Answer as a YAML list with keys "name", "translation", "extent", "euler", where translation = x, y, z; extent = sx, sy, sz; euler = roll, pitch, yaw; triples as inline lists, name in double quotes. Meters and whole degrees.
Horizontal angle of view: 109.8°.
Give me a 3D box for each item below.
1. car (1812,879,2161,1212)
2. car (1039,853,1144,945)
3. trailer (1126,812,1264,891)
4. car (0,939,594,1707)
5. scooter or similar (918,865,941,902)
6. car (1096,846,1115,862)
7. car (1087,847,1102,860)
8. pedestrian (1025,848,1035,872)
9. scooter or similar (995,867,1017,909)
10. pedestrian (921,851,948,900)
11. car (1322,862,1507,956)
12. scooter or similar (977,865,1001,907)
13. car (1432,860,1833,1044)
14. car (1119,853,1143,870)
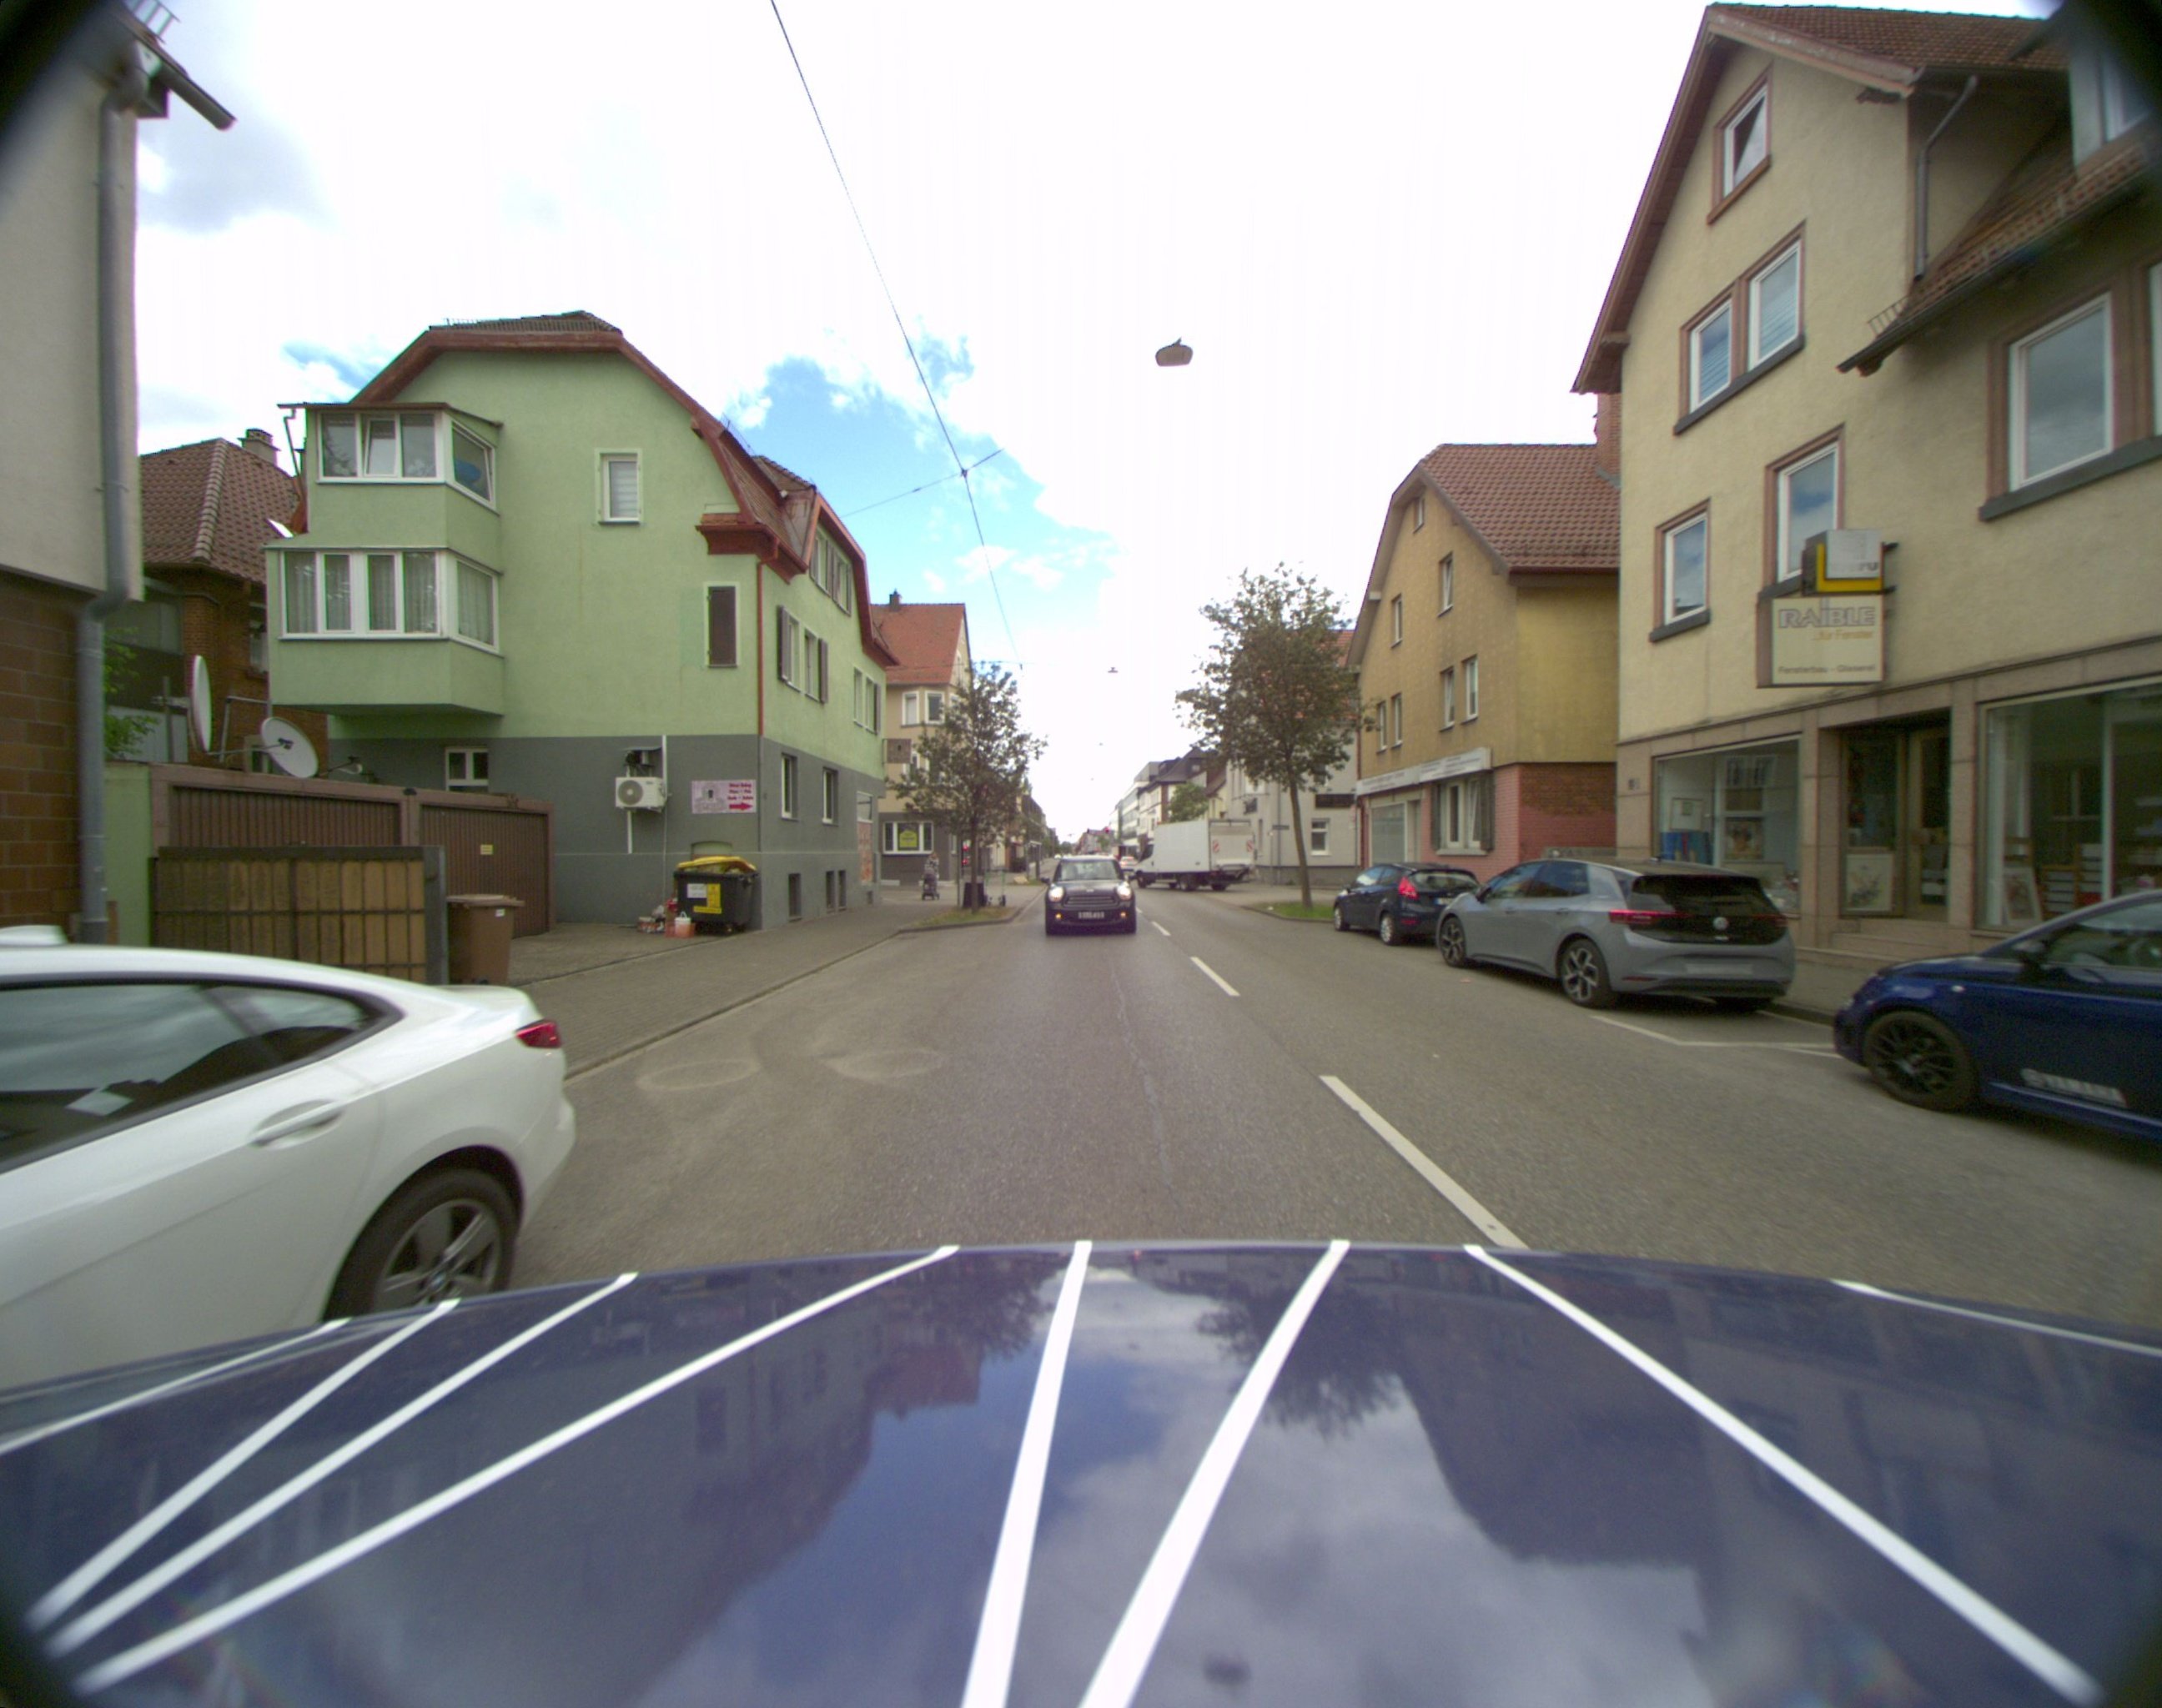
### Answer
- name: "car"
  translation: [5.906, 0.945, 3.462]
  extent: [1.686, 1.484, 3.591]
  euler: [1, 1, 1]
- name: "car"
  translation: [0.183, 0.826, 16.185]
  extent: [1.847, 1.571, 4.428]
  euler: [-3, 1, 0]
- name: "trailer"
  translation: [4.944, -0.153, 34.603]
  extent: [2.514, 3.201, 7.118]
  euler: [-2, 2, -27]
- name: "car"
  translation: [-2.800, 1.094, 0.746]
  extent: [1.836, 1.437, 4.330]
  euler: [-2, 1, -1]
- name: "scooter or similar"
  translation: [-5.331, 1.036, 26.802]
  extent: [0.591, 1.225, 0.891]
  euler: [-2, 1, 0]
- name: "car"
  translation: [2.715, -0.034, 84.052]
  extent: [1.998, 1.786, 4.276]
  euler: [0, 1, 0]
- name: "car"
  translation: [1.685, -0.067, 98.881]
  extent: [1.785, 1.543, 4.074]
  euler: [1, 1, -1]
- name: "pedestrian"
  translation: [-4.515, 0.534, 67.309]
  extent: [0.826, 2.063, 1.010]
  euler: [2, 1, -4]
- name: "scooter or similar"
  translation: [-2.362, 1.059, 24.109]
  extent: [0.503, 1.228, 1.942]
  euler: [-2, 1, 0]
- name: "pedestrian"
  translation: [-5.329, 0.775, 27.720]
  extent: [0.752, 1.710, 0.900]
  euler: [-2, 1, 0]
- name: "car"
  translation: [6.009, 0.915, 14.224]
  extent: [1.687, 1.416, 3.930]
  euler: [1, 1, -1]
- name: "scooter or similar"
  translation: [-2.900, 0.994, 24.100]
  extent: [0.503, 1.228, 1.942]
  euler: [-2, 1, 0]
- name: "car"
  translation: [5.885, 0.896, 8.870]
  extent: [1.714, 1.557, 4.113]
  euler: [1, 1, 1]
- name: "car"
  translation: [4.372, 0.640, 67.159]
  extent: [1.847, 1.425, 4.542]
  euler: [1, 1, 0]
